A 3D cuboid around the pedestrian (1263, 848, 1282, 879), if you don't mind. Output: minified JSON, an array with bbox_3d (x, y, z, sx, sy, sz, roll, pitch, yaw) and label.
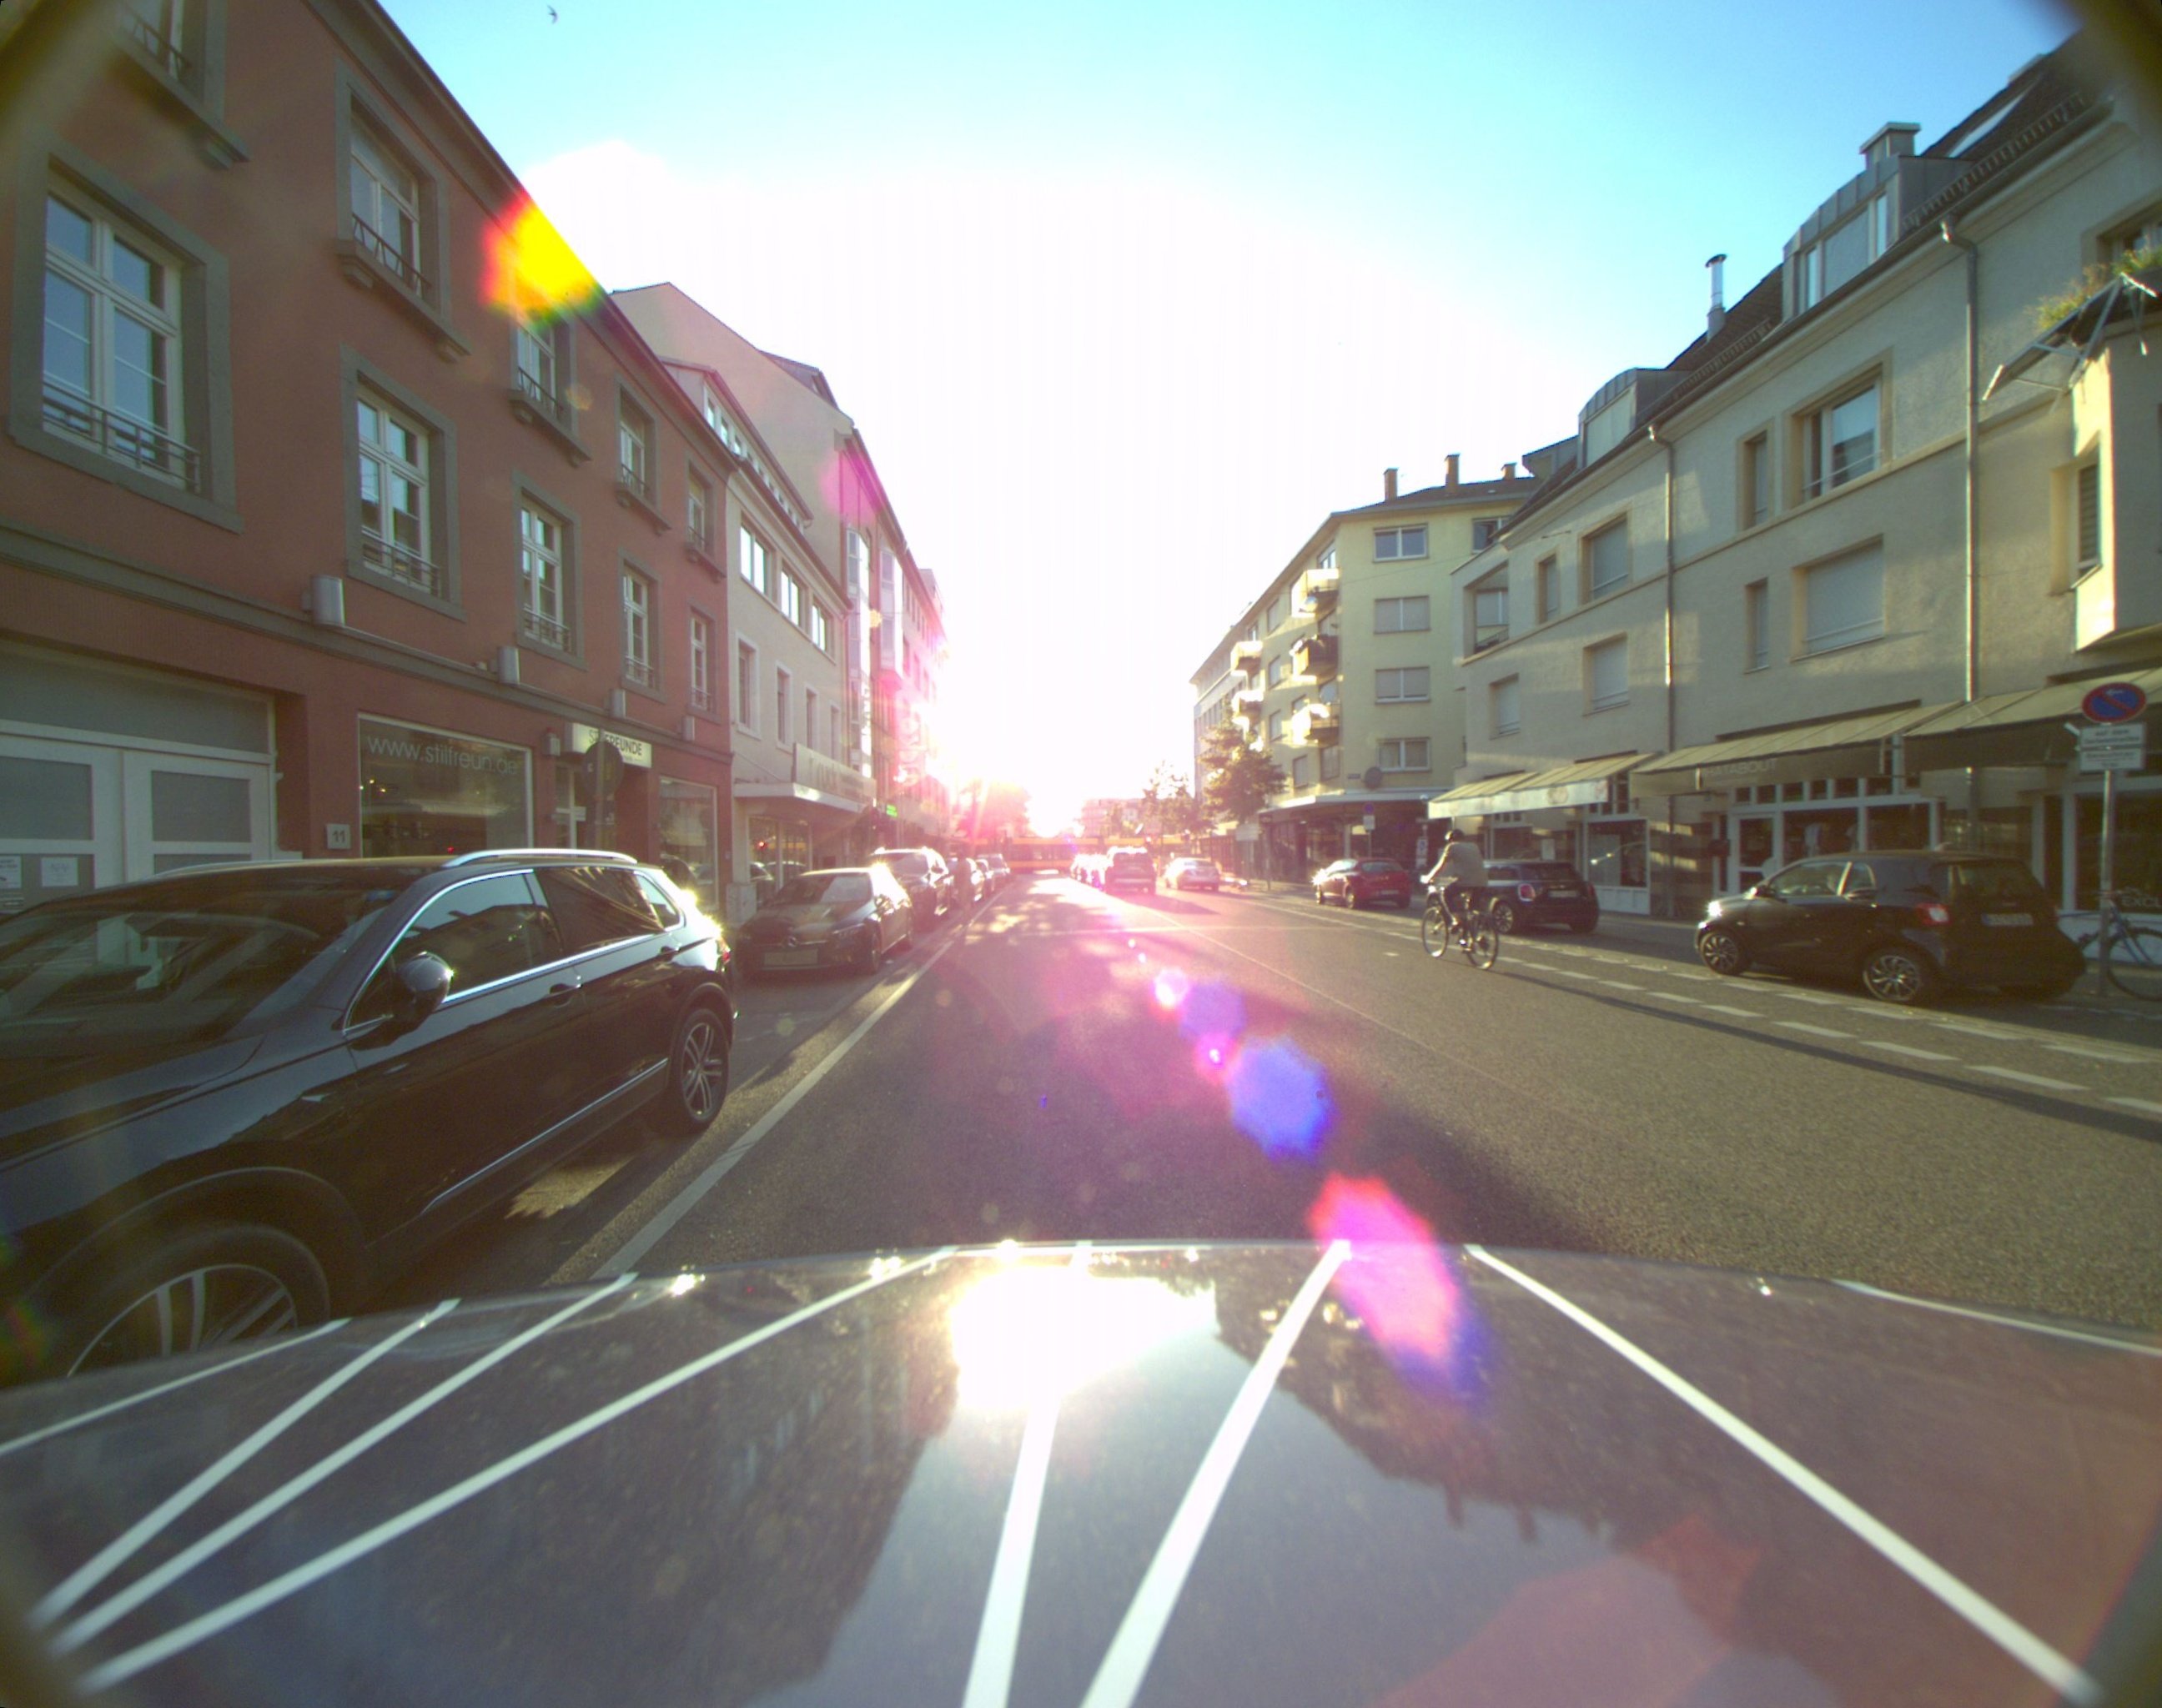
[{"bbox_3d":[10.557,0.519,41.862,0.768,1.666,0.744,-1,1,40],"label":"pedestrian"}]

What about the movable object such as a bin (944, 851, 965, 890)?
[{"bbox_3d":[-6.037,0.777,36.350,0.837,1.764,1.205,-2,1,-6],"label":"movable object such as a bin"}]

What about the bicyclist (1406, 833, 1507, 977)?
[{"bbox_3d":[4.962,0.643,10.109,0.783,1.818,1.006,0,1,-5],"label":"bicyclist"}]

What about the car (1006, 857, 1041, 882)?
[{"bbox_3d":[-3.499,0.892,46.083,1.942,1.368,4.180,-2,0,-4],"label":"car"}]

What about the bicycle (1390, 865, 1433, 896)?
[{"bbox_3d":[11.780,0.932,27.134,0.491,0.986,2.015,-2,1,-5],"label":"bicycle"}]

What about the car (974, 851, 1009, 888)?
[{"bbox_3d":[-4.667,0.781,39.952,1.659,1.768,4.009,-2,0,-6],"label":"car"}]

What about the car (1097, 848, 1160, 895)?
[{"bbox_3d":[1.739,0.597,29.276,1.946,1.635,4.737,0,1,-2],"label":"car"}]

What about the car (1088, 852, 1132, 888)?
[{"bbox_3d":[1.305,0.701,36.207,1.728,1.540,4.463,0,1,-2],"label":"car"}]

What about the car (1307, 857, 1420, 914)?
[{"bbox_3d":[8.195,0.859,22.422,1.665,1.394,3.882,-2,1,-3],"label":"car"}]

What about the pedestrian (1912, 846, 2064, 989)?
[{"bbox_3d":[11.066,0.732,9.301,0.719,1.632,0.951,-2,1,-6],"label":"pedestrian"}]

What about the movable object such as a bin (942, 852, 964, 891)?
[{"bbox_3d":[-5.885,0.791,35.058,0.837,1.764,1.352,-2,1,-6],"label":"movable object such as a bin"}]

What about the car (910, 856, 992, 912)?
[{"bbox_3d":[-4.120,0.889,24.865,1.816,1.518,4.992,-2,1,-1],"label":"car"}]

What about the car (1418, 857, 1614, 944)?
[{"bbox_3d":[8.679,0.841,15.560,1.716,1.445,3.723,-2,1,-3],"label":"car"}]

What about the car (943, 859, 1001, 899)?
[{"bbox_3d":[-4.303,0.930,30.649,1.757,1.412,4.509,-2,0,-2],"label":"car"}]

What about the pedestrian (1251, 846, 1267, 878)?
[{"bbox_3d":[10.323,0.472,44.064,0.769,1.836,0.743,-1,-1,7],"label":"pedestrian"}]

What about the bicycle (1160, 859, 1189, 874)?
[{"bbox_3d":[6.726,0.913,54.644,2.015,0.986,0.491,-2,1,-7],"label":"bicycle"}]

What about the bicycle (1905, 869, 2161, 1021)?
[{"bbox_3d":[10.581,0.891,8.247,0.612,1.367,2.357,-2,1,-3],"label":"bicycle"}]

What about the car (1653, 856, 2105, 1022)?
[{"bbox_3d":[8.828,0.801,8.825,1.797,1.526,3.187,-1,0,-6],"label":"car"}]

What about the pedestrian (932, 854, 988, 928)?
[{"bbox_3d":[-2.822,0.834,17.695,0.994,1.666,0.905,-1,0,-30],"label":"pedestrian"}]

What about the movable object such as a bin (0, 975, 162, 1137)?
[{"bbox_3d":[-6.699,1.316,5.047,0.554,0.932,0.485,-1,1,-5],"label":"movable object such as a bin"}]

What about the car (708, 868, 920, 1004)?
[{"bbox_3d":[-3.731,1.043,11.498,1.767,1.475,4.305,-2,1,-2],"label":"car"}]

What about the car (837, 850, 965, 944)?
[{"bbox_3d":[-3.972,0.843,17.662,1.888,1.744,5.057,-2,1,-2],"label":"car"}]

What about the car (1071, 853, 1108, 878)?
[{"bbox_3d":[0.486,0.748,49.460,1.964,1.538,4.508,-1,-1,-5],"label":"car"}]

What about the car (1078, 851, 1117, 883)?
[{"bbox_3d":[0.862,0.678,42.982,1.951,1.635,4.613,0,1,-2],"label":"car"}]

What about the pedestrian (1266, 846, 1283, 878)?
[{"bbox_3d":[10.911,0.455,42.796,0.742,1.808,0.813,0,0,-1],"label":"pedestrian"}]

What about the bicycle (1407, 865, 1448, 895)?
[{"bbox_3d":[12.334,0.910,27.103,0.491,0.986,2.015,-2,1,-1],"label":"bicycle"}]

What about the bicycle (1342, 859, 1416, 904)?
[{"bbox_3d":[9.813,0.872,25.187,0.961,1.293,3.125,-2,1,-5],"label":"bicycle"}]

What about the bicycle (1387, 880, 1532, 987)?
[{"bbox_3d":[4.969,0.991,10.161,0.783,1.197,2.019,0,1,-5],"label":"bicycle"}]

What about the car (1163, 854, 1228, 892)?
[{"bbox_3d":[5.061,0.809,34.267,1.999,1.503,4.507,2,1,-3],"label":"car"}]

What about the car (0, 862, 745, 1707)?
[{"bbox_3d":[-3.061,0.945,2.825,1.817,1.658,4.204,-2,1,-2],"label":"car"}]
